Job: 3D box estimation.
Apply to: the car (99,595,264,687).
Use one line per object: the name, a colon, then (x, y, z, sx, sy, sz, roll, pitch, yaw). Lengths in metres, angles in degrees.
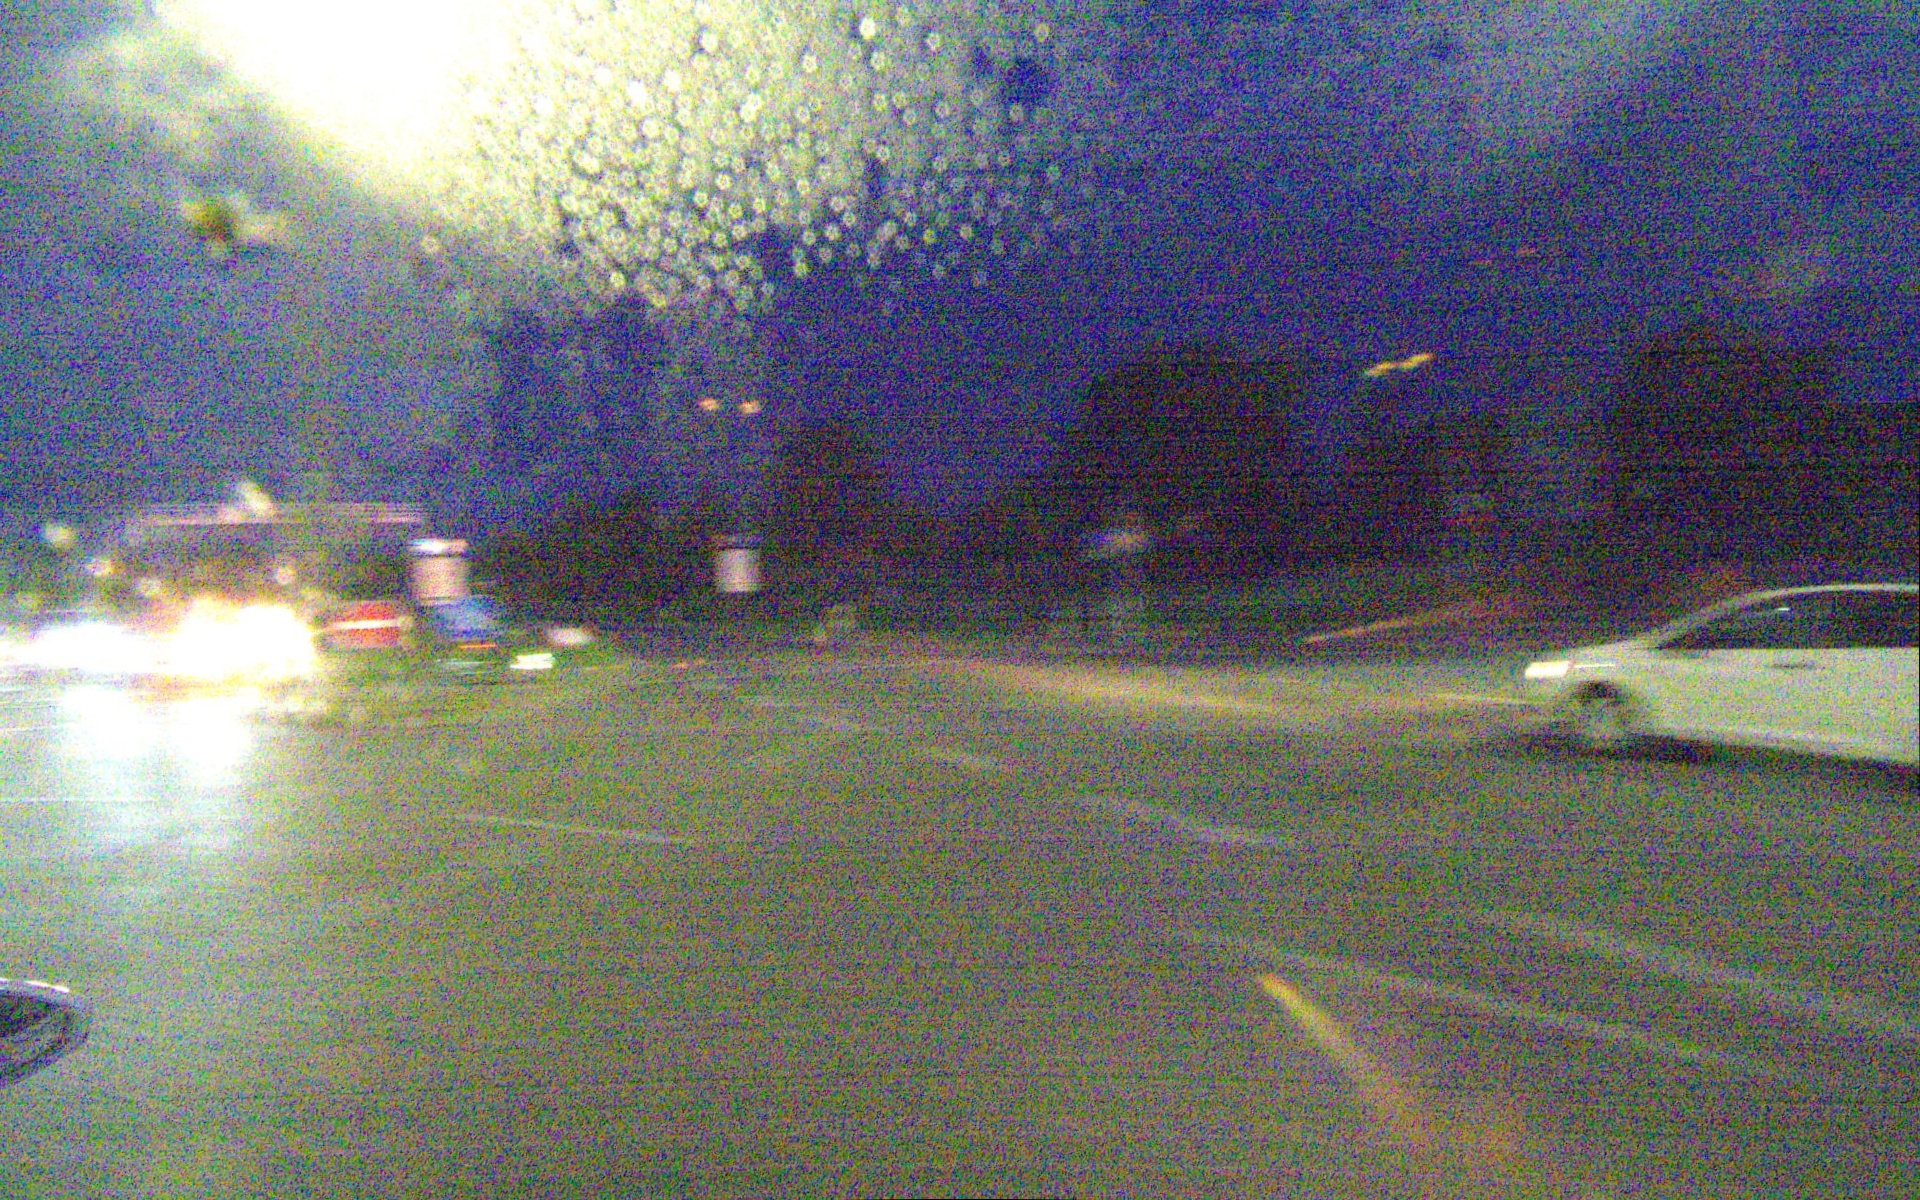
car: (-15.918, 0.743, 20.731, 1.829, 1.655, 4.564, -1, 1, -27)

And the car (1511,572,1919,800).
car: (6.540, 0.541, 7.404, 1.601, 1.463, 4.096, -2, 1, -30)

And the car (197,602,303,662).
car: (-19.392, 0.826, 27.505, 1.751, 1.501, 3.893, -1, 0, -27)

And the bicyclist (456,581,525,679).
bicyclist: (-8.288, 0.515, 17.693, 0.987, 1.673, 0.600, -2, 1, -34)

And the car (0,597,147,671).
car: (-22.156, 0.779, 25.167, 1.724, 1.648, 4.343, -1, 1, -27)

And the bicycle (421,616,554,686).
bicycle: (-8.359, 0.872, 17.759, 2.040, 1.116, 0.690, -1, 1, -34)

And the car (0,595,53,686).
car: (-18.906, 0.764, 18.588, 1.885, 1.705, 4.400, -1, 1, -27)
